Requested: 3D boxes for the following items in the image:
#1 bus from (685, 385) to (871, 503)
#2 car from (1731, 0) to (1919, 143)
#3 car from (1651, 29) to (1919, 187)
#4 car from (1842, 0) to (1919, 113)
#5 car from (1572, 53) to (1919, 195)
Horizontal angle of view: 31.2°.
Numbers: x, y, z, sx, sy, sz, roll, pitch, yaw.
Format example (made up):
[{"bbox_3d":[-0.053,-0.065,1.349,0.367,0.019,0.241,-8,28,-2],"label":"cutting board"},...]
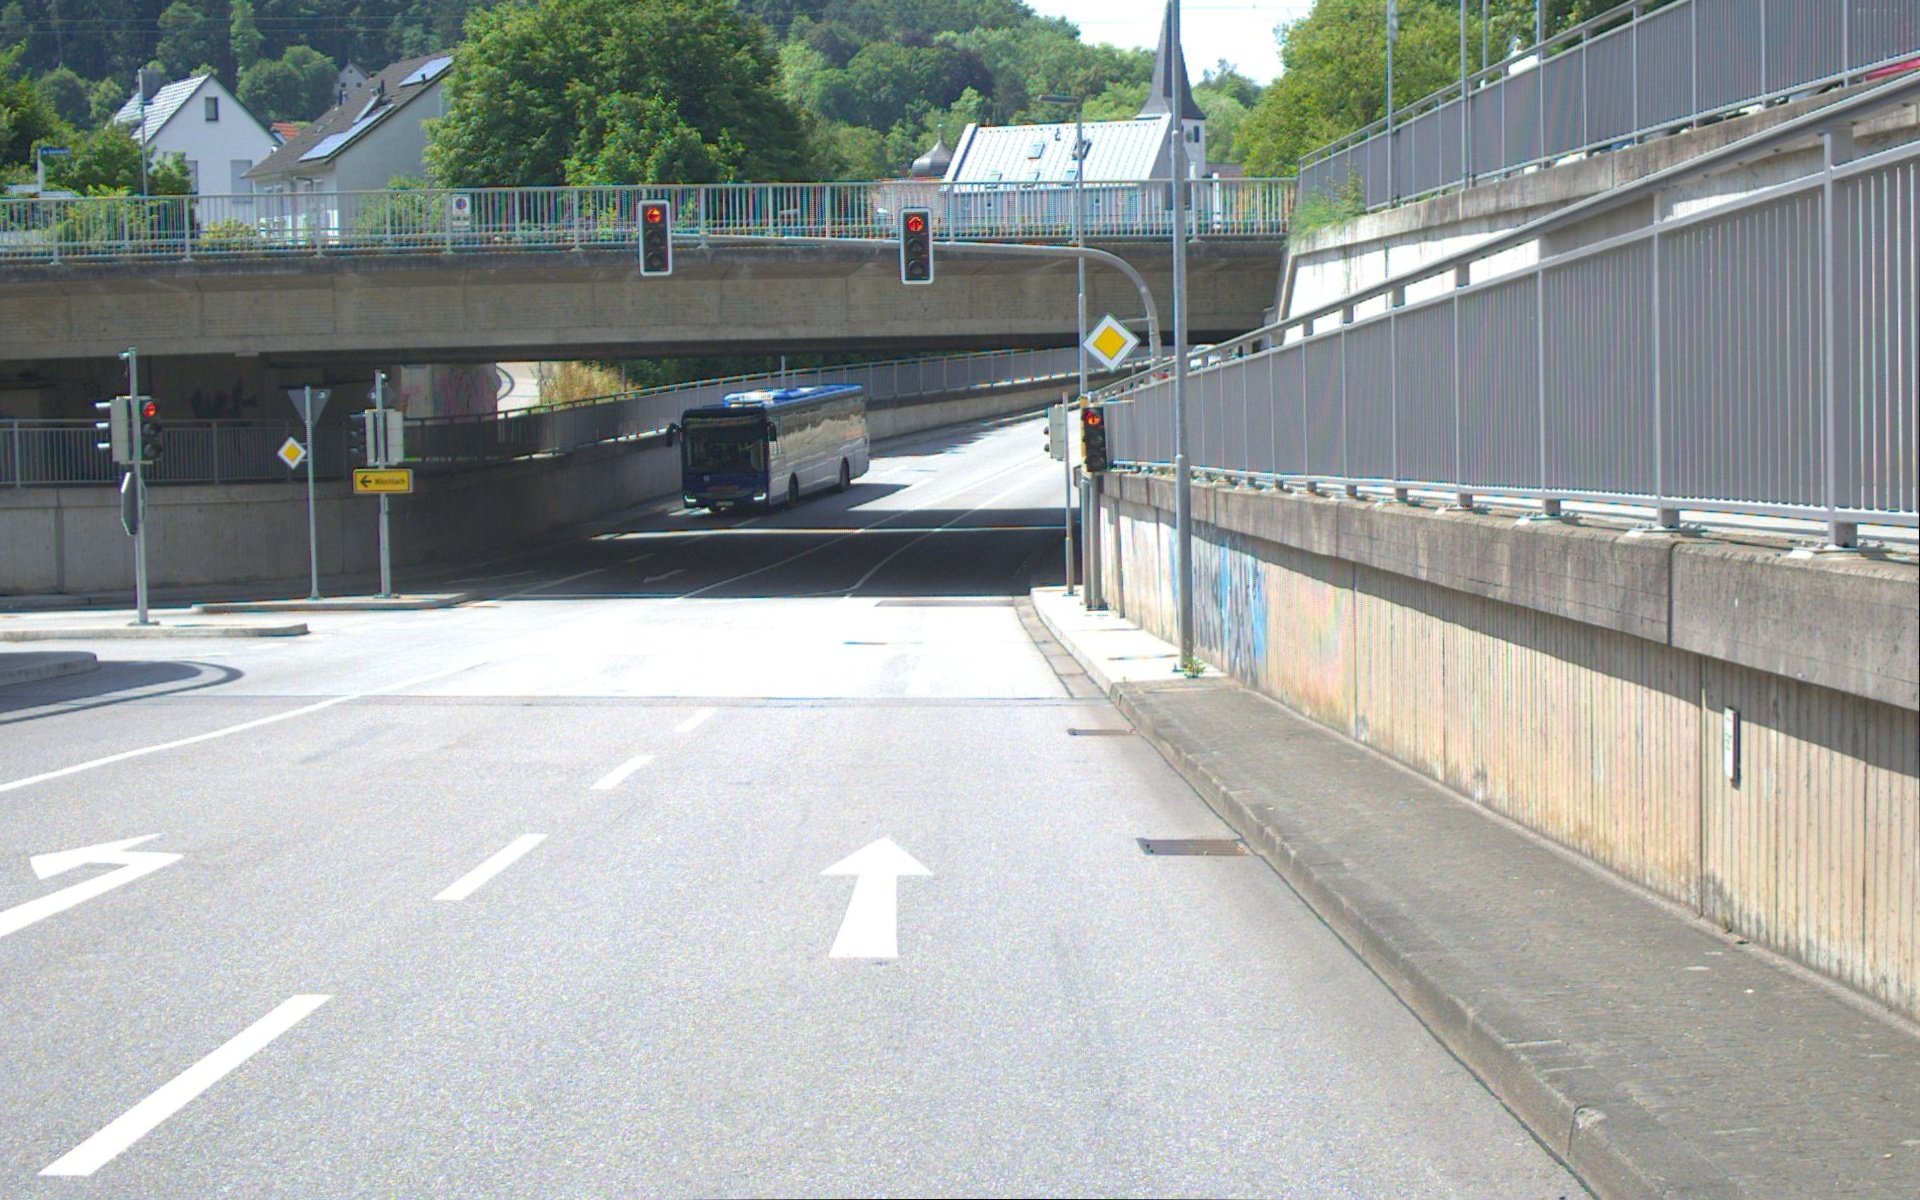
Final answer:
[{"bbox_3d":[-5.094,-4.593,99.053,2.582,3.161,12.374,0,4,10],"label":"bus"},{"bbox_3d":[9.623,-5.264,33.231,3.987,1.481,1.770,0,1,3],"label":"car"},{"bbox_3d":[9.569,-5.263,36.905,3.987,1.481,1.770,0,1,3],"label":"car"},{"bbox_3d":[9.619,-4.987,28.912,3.987,1.562,1.770,0,1,3],"label":"car"},{"bbox_3d":[9.432,-5.657,41.018,3.987,1.481,1.770,0,1,3],"label":"car"}]
